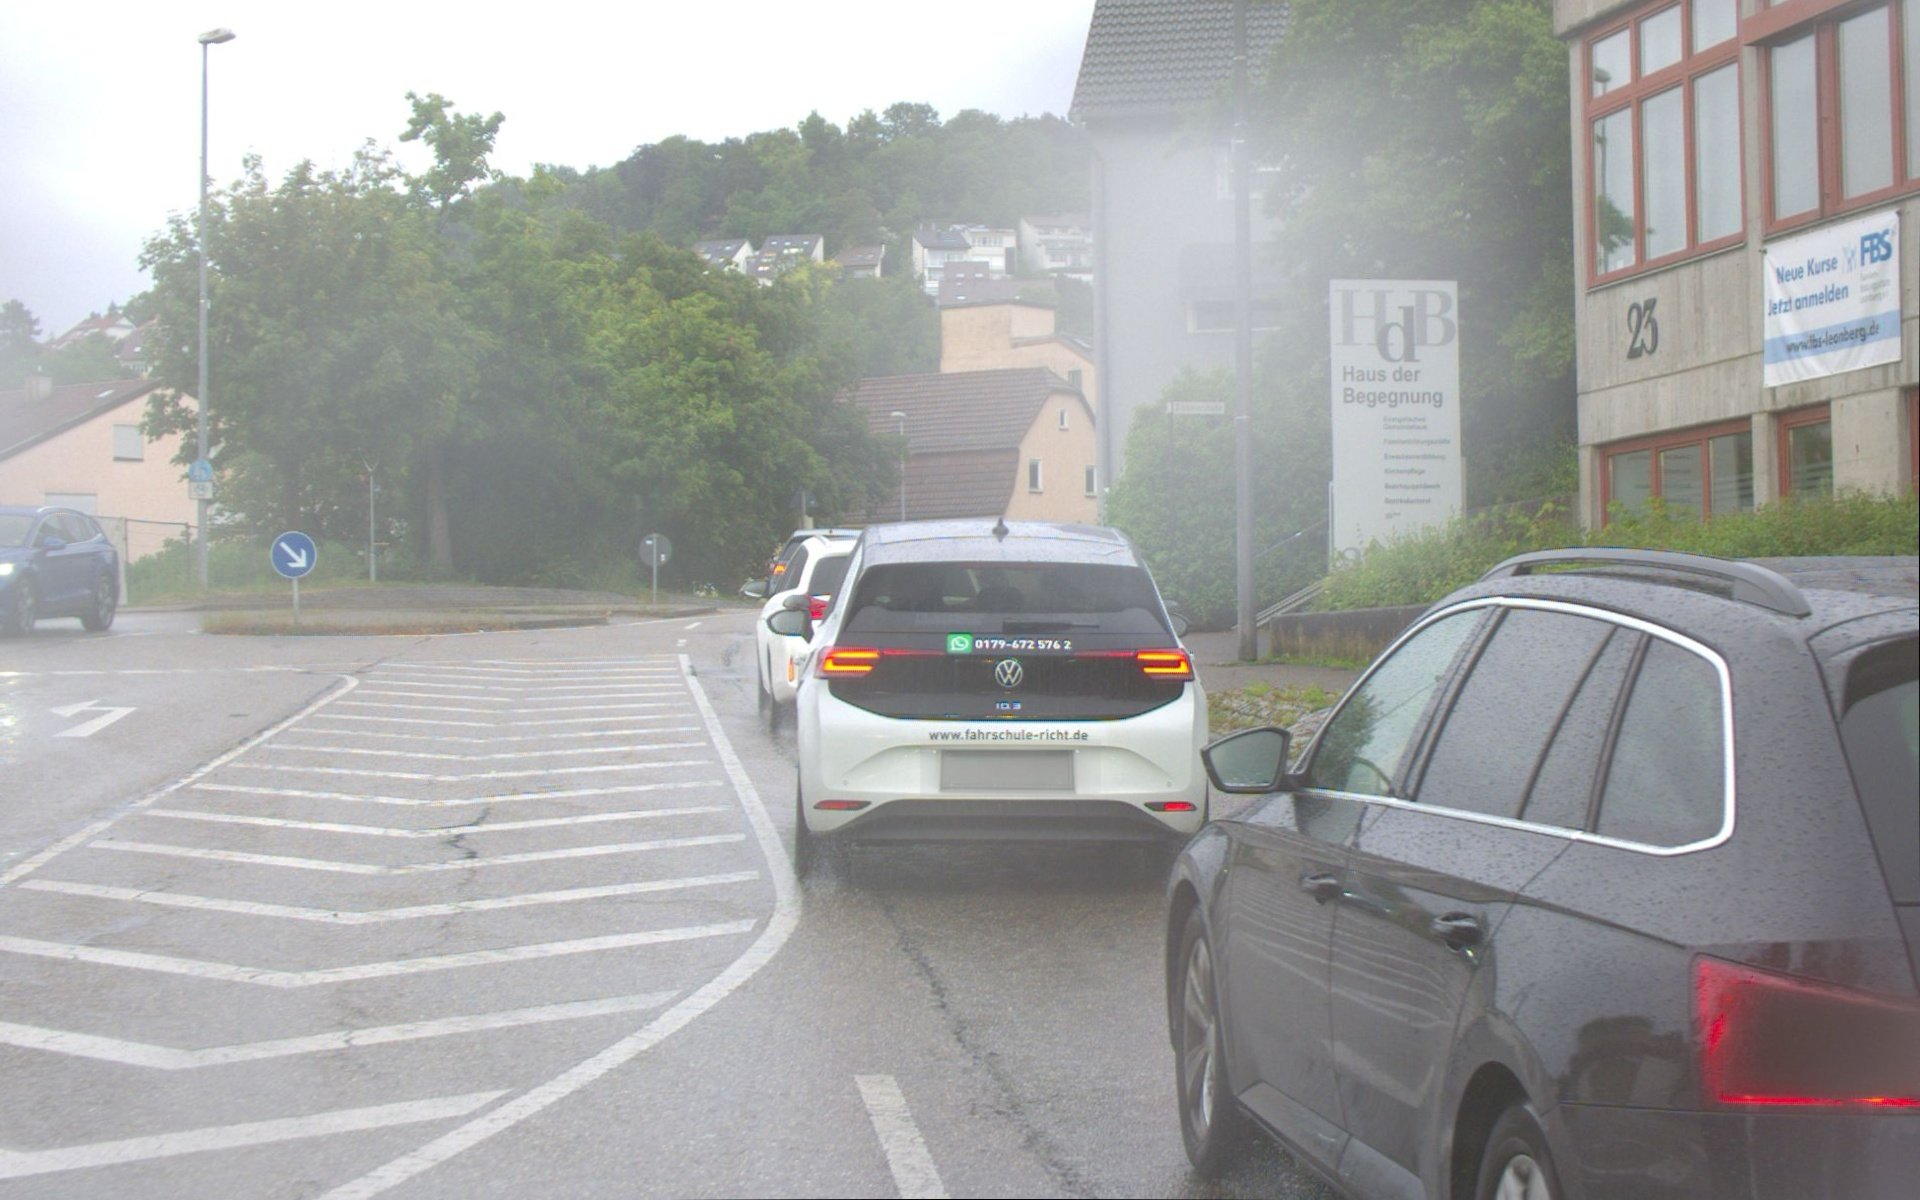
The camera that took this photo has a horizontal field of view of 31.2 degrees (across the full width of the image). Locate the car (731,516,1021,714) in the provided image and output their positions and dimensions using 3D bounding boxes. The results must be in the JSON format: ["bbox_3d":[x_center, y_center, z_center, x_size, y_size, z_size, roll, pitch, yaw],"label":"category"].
[{"bbox_3d":[-0.737,0.098,26.687,1.847,1.405,4.302,0,0,-7],"label":"car"}]

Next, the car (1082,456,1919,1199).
[{"bbox_3d":[1.527,0.603,6.303,1.953,1.502,4.609,2,0,-6],"label":"car"}]

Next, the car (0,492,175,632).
[{"bbox_3d":[-11.972,-0.464,43.551,1.995,1.687,4.702,1,0,14],"label":"car"}]

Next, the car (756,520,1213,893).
[{"bbox_3d":[0.050,0.416,15.878,1.828,1.495,4.169,0,0,-1],"label":"car"}]

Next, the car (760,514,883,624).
[{"bbox_3d":[-1.963,-0.473,49.698,1.567,1.525,4.000,0,1,1],"label":"car"}]
